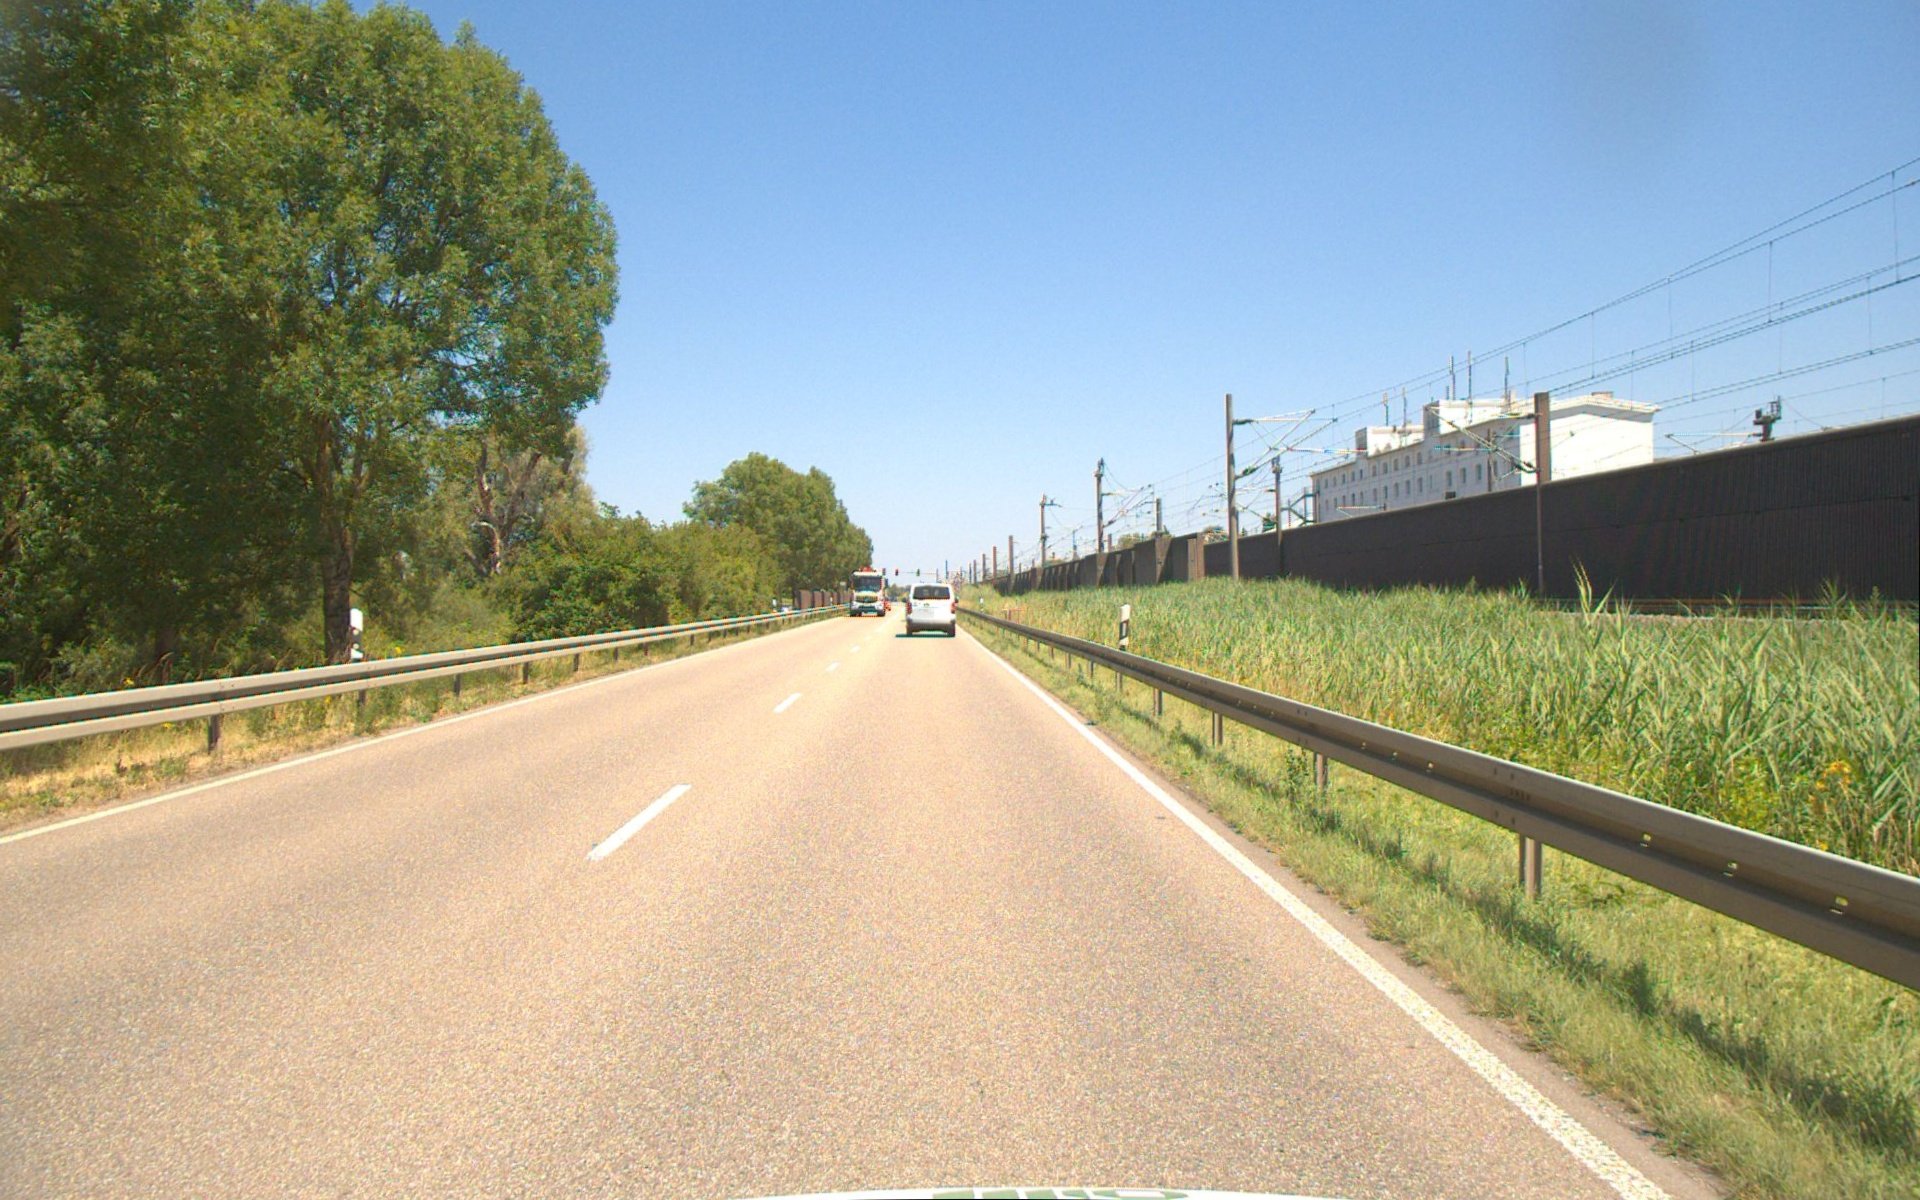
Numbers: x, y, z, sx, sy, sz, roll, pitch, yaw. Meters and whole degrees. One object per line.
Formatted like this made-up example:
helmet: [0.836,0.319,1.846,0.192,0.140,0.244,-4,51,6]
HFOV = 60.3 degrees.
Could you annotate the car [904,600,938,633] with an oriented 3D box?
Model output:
car: [-2.324,0.983,99.092,1.953,1.882,3.999,1,0,-1]

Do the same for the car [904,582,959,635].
car: [-1.081,0.311,61.958,1.953,1.882,3.999,1,0,-1]

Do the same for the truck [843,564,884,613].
truck: [-7.052,-0.816,121.314,2.727,3.464,7.986,1,0,-2]

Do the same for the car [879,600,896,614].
car: [-7.451,0.741,170.034,1.753,1.446,3.998,0,0,-2]
